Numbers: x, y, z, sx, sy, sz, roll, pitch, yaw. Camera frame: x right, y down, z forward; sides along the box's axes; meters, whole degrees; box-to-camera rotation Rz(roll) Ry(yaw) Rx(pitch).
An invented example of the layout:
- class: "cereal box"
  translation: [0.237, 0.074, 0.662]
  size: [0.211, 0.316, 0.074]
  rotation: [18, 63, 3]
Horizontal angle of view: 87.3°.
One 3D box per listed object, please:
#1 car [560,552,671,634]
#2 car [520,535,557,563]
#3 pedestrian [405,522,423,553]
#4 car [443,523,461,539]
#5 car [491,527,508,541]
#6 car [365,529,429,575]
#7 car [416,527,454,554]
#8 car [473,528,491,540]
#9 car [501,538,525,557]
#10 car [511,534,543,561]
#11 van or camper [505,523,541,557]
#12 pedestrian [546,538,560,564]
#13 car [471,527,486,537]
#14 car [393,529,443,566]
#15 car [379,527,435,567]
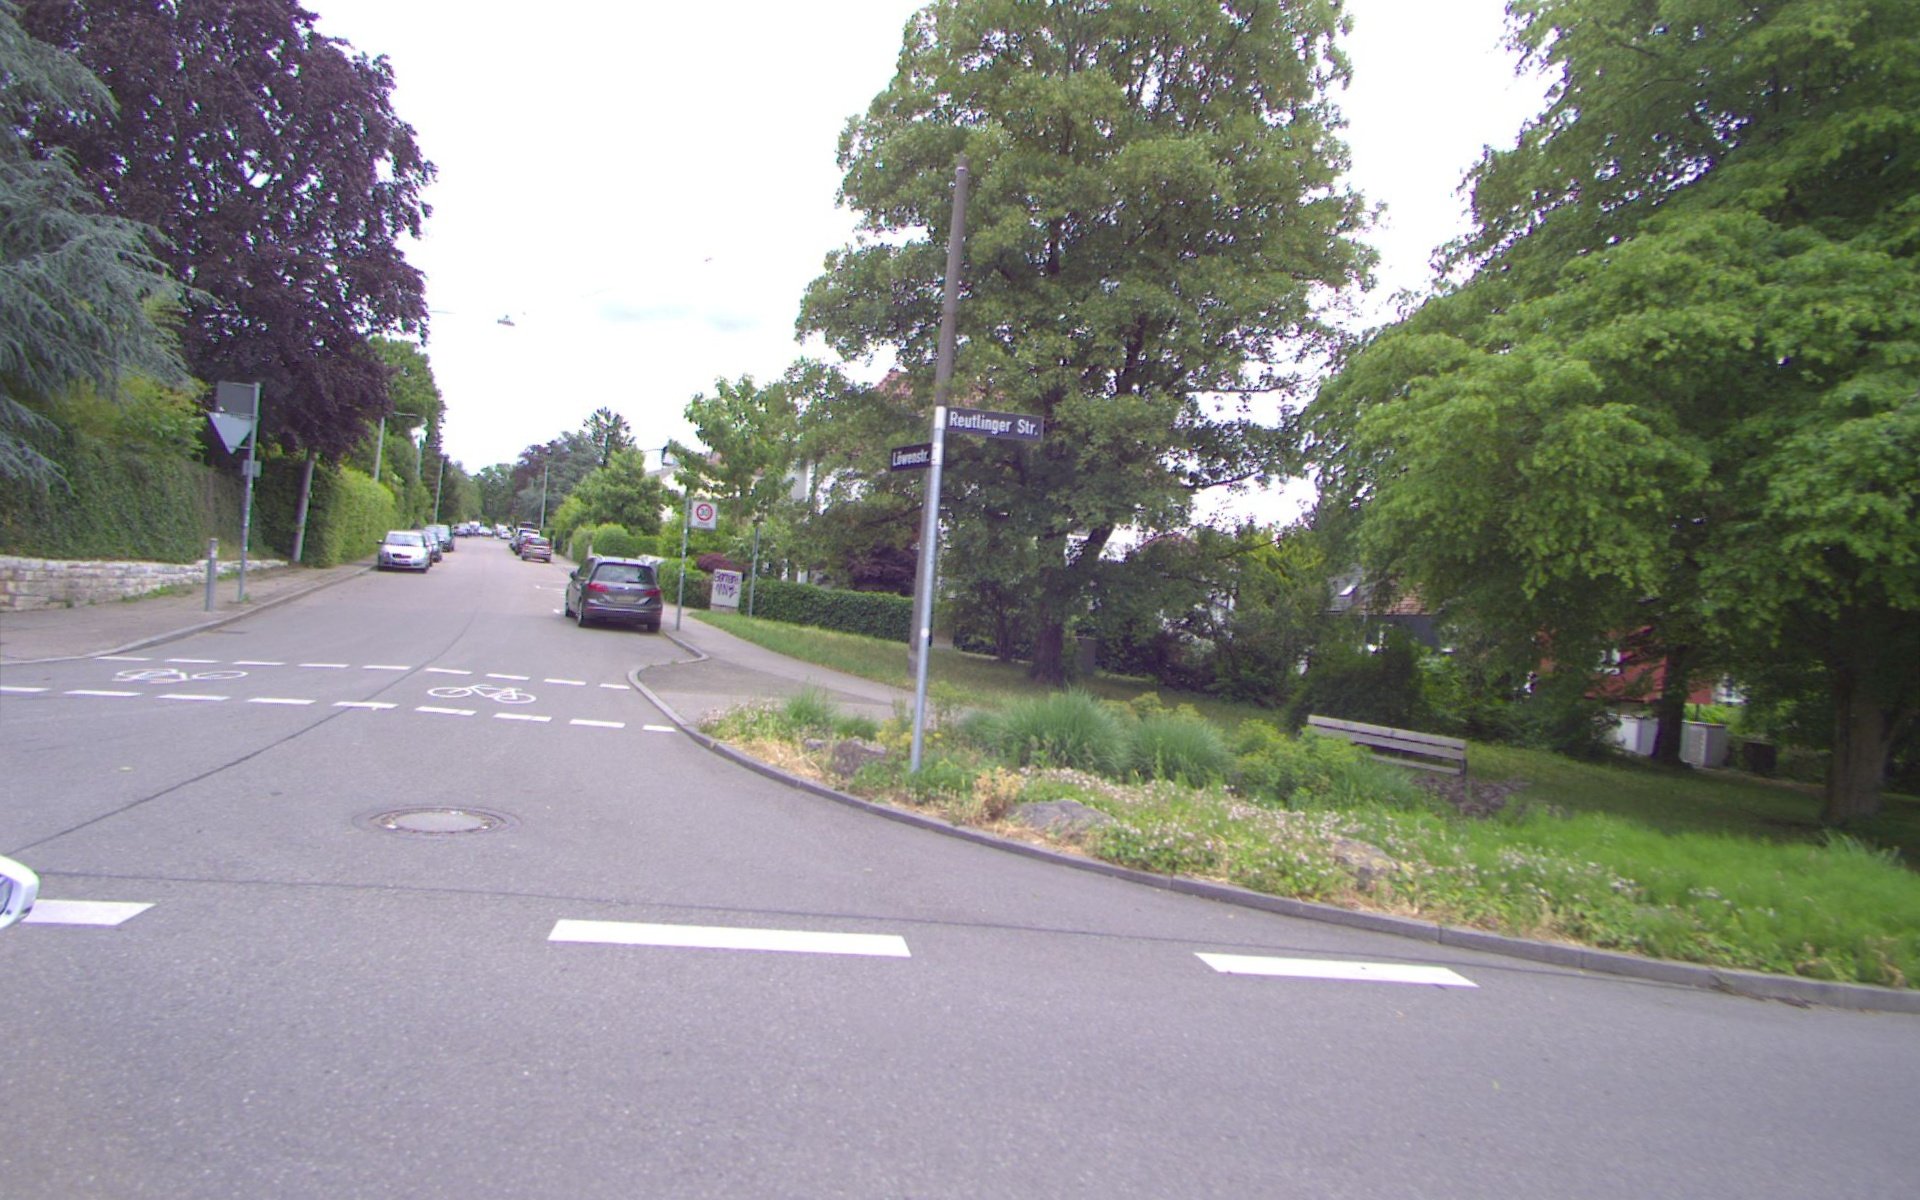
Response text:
- class: "car"
  translation: [-8.032, -0.209, 23.224]
  size: [1.800, 1.556, 3.973]
  rotation: [5, 1, -27]
- class: "car"
  translation: [-26.048, -3.161, 62.110]
  size: [1.597, 1.431, 3.447]
  rotation: [8, 0, -29]
- class: "pedestrian"
  translation: [-38.139, -4.393, 70.238]
  size: [0.847, 2.038, 0.865]
  rotation: [7, 1, -32]
- class: "car"
  translation: [-59.178, -8.013, 117.186]
  size: [1.700, 1.480, 3.632]
  rotation: [8, 0, -26]
- class: "car"
  translation: [-72.577, -10.395, 158.515]
  size: [1.926, 1.818, 4.161]
  rotation: [8, 0, -30]
- class: "car"
  translation: [-21.493, -1.867, 38.540]
  size: [1.930, 1.460, 3.971]
  rotation: [6, 1, -28]
- class: "car"
  translation: [-33.337, -3.766, 63.871]
  size: [1.930, 1.460, 3.971]
  rotation: [6, 1, -28]
- class: "car"
  translation: [-64.209, -8.902, 135.195]
  size: [1.644, 1.351, 3.749]
  rotation: [8, 0, -32]
- class: "car"
  translation: [-40.285, -4.710, 90.585]
  size: [1.597, 1.431, 3.447]
  rotation: [8, 0, -29]
- class: "car"
  translation: [-30.575, -3.685, 70.986]
  size: [1.732, 1.661, 3.701]
  rotation: [5, 1, -28]
- class: "van or camper"
  translation: [-35.540, -4.864, 81.705]
  size: [2.095, 2.435, 5.207]
  rotation: [5, 1, -29]
- class: "pedestrian"
  translation: [-31.525, -3.770, 77.974]
  size: [0.750, 1.894, 0.616]
  rotation: [7, 1, -27]
- class: "car"
  translation: [-80.857, -11.403, 168.908]
  size: [1.801, 1.594, 3.968]
  rotation: [5, 1, -31]
- class: "car"
  translation: [-25.785, -2.509, 47.905]
  size: [1.930, 1.460, 3.971]
  rotation: [6, 1, -28]
- class: "car"
  translation: [-23.642, -2.277, 43.113]
  size: [1.930, 1.460, 3.971]
  rotation: [6, 1, -28]
